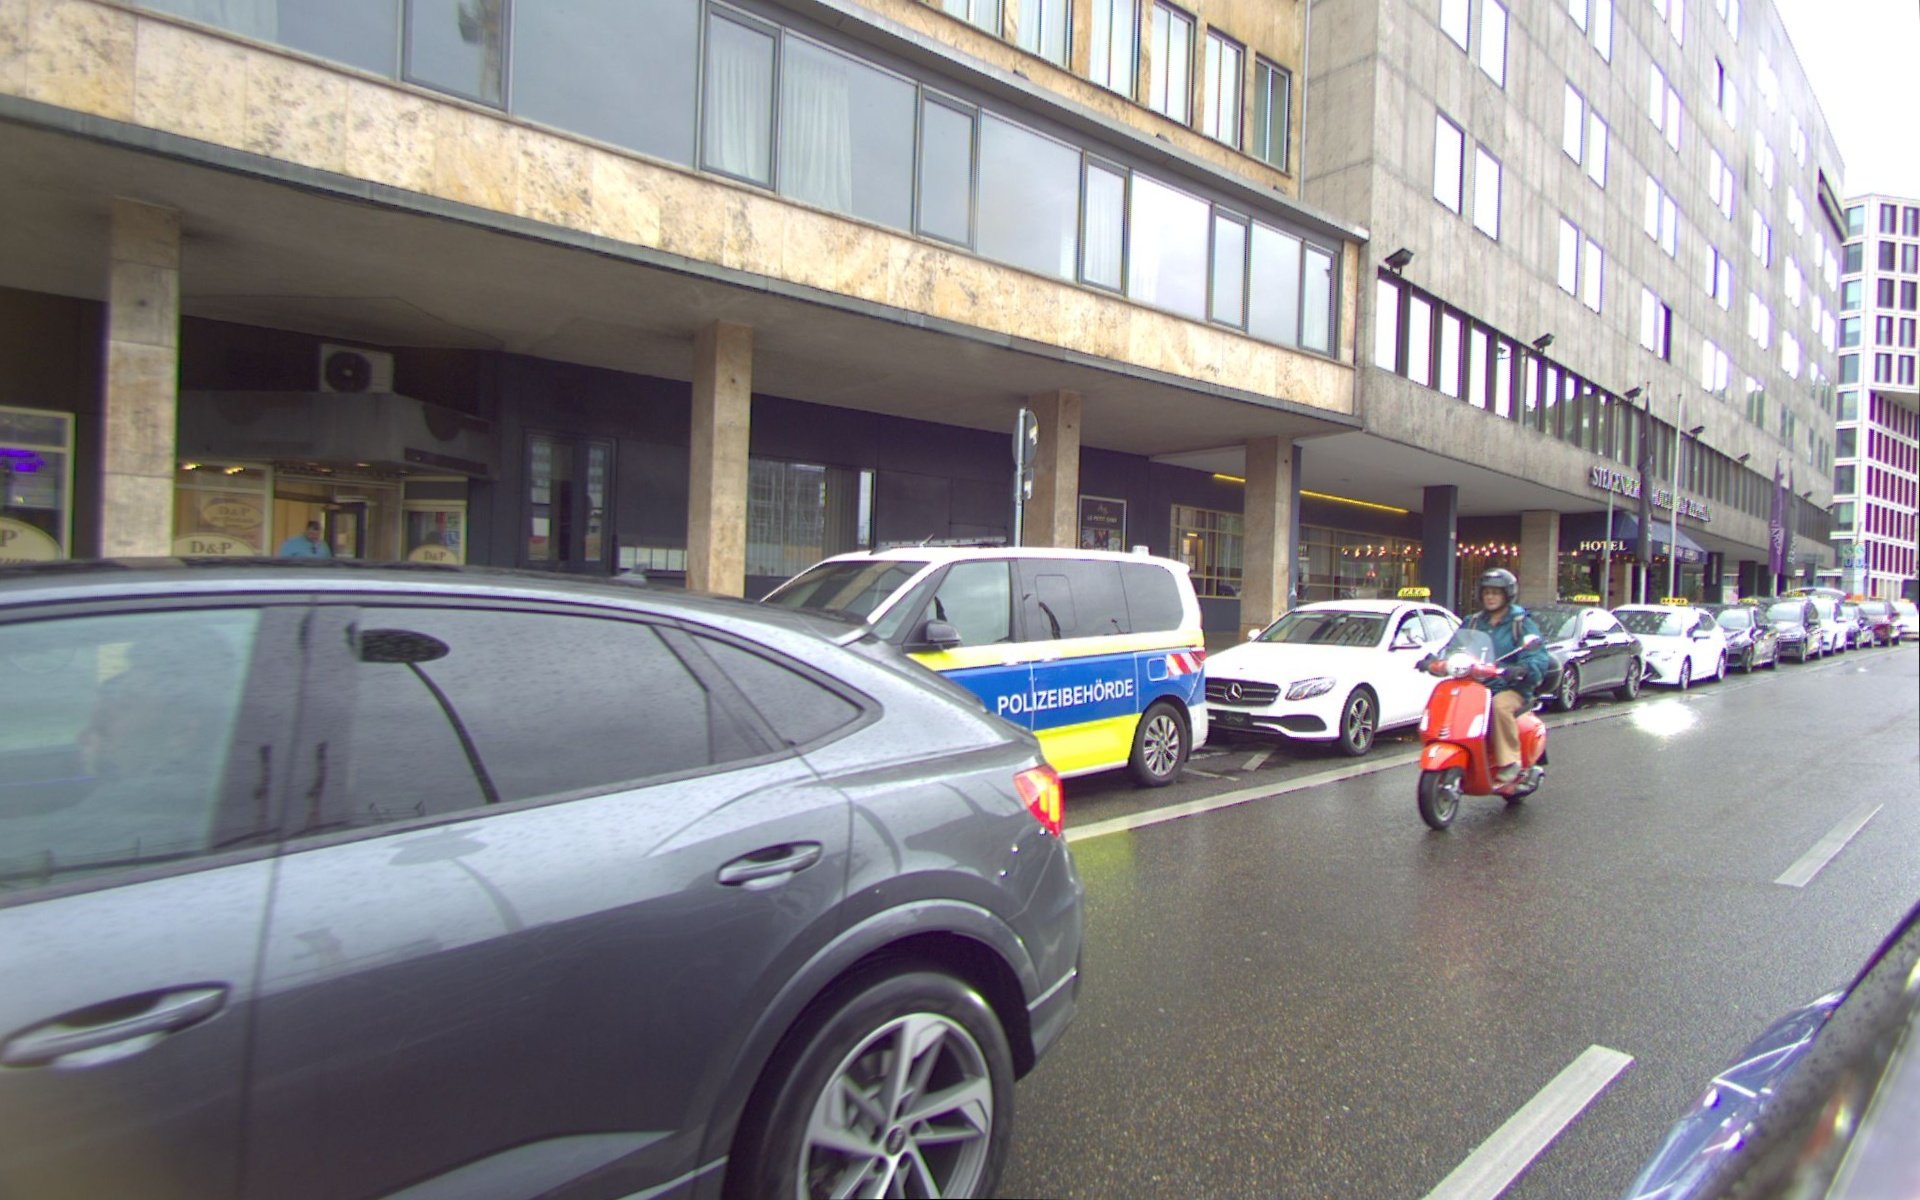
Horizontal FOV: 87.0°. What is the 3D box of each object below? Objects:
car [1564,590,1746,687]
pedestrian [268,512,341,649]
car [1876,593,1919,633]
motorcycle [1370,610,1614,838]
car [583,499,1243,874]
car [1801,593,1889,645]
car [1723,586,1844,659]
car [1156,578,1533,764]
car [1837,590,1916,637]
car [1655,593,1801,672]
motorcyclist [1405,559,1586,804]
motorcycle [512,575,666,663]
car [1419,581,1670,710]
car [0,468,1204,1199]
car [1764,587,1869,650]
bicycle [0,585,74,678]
[{"bbox_3d":[13.161,0.615,19.040,4.731,1.612,1.729,-1,0,-41],"label":"car"},{"bbox_3d":[-9.114,-0.257,14.057,0.786,1.813,1.136,0,0,-36],"label":"pedestrian"},{"bbox_3d":[41.228,0.526,43.955,3.932,1.634,1.729,0,0,-41],"label":"car"},{"bbox_3d":[3.721,0.750,7.010,1.931,1.323,0.848,0,0,-41],"label":"motorcycle"},{"bbox_3d":[-0.064,0.429,7.579,4.850,1.944,1.877,0,0,-41],"label":"car"},{"bbox_3d":[29.728,0.606,33.969,3.932,1.634,1.729,0,0,-41],"label":"car"},{"bbox_3d":[21.937,0.530,26.899,4.731,1.764,1.729,0,0,-41],"label":"car"},{"bbox_3d":[4.477,0.612,11.339,4.924,1.658,1.877,-1,0,-41],"label":"car"},{"bbox_3d":[33.691,0.467,37.169,3.932,1.634,1.729,0,0,-41],"label":"car"},{"bbox_3d":[17.418,0.651,22.852,4.731,1.612,1.729,-1,0,-41],"label":"car"},{"bbox_3d":[3.699,0.509,6.999,0.829,1.547,0.860,0,0,-40],"label":"motorcyclist"},{"bbox_3d":[-5.466,0.263,14.976,2.063,1.233,0.569,0,0,-33],"label":"motorcycle"},{"bbox_3d":[8.946,0.568,15.311,4.731,1.658,1.877,0,0,-41],"label":"car"},{"bbox_3d":[-1.574,0.602,2.023,4.266,1.520,1.882,0,0,-41],"label":"car"},{"bbox_3d":[25.721,0.492,30.333,4.731,1.764,1.729,0,0,-41],"label":"car"},{"bbox_3d":[-11.623,0.360,11.428,2.428,1.059,0.657,0,0,-41],"label":"bicycle"}]
